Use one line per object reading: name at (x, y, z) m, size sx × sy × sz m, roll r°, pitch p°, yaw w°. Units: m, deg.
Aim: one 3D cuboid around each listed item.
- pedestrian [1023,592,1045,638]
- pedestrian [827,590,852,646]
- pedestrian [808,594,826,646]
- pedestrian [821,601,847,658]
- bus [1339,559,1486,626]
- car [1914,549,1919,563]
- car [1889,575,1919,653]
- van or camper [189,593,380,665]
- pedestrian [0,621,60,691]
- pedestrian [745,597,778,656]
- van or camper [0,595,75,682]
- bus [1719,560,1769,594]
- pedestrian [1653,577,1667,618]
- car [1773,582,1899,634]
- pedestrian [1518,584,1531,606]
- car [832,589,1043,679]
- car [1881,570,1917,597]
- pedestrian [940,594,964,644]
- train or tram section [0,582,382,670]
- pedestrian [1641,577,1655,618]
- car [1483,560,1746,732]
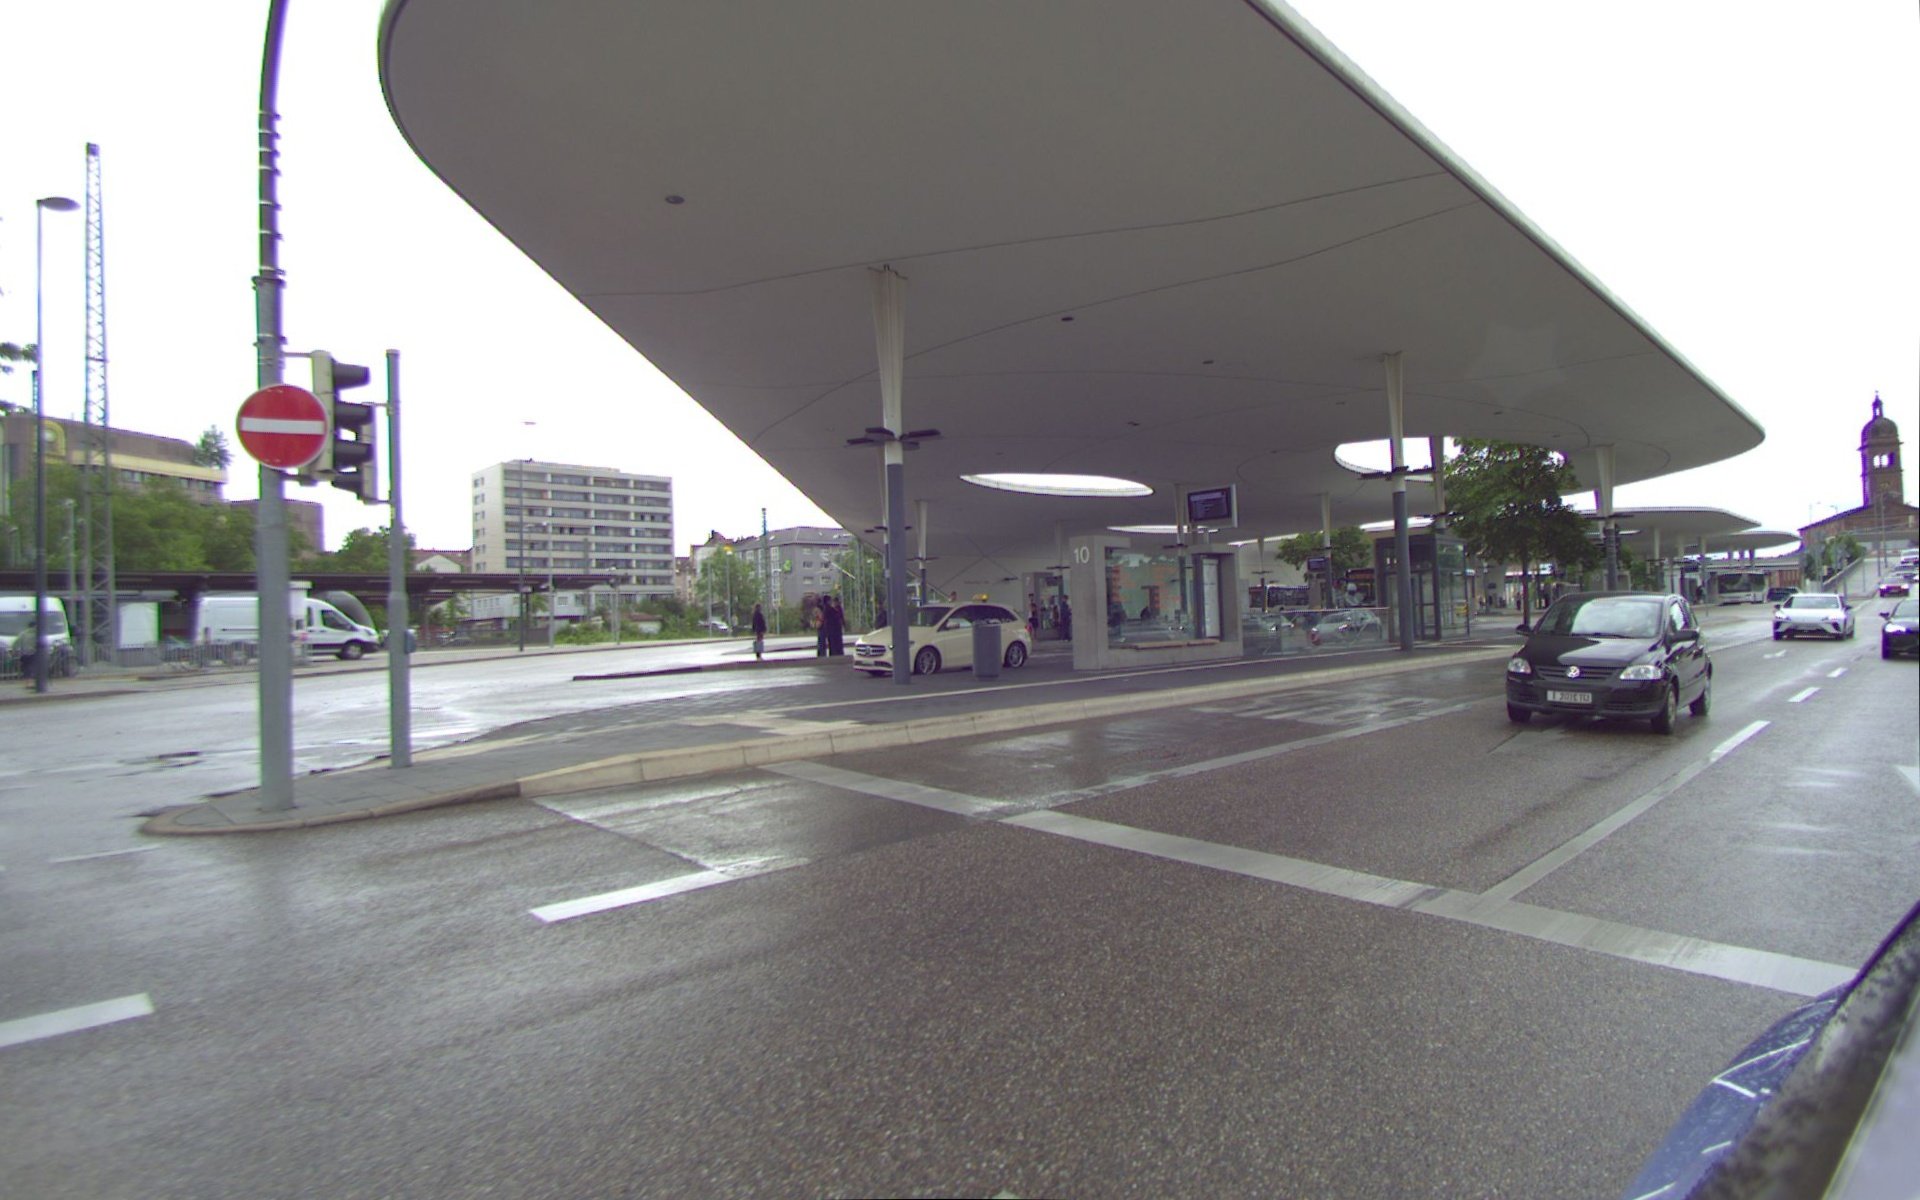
pedestrian at (2.478, 0.496, 34.015) m, size 0.526 × 1.533 × 0.478 m, roll -1°, pitch -1°, yaw -41°
pedestrian at (-3.376, 0.505, 28.310) m, size 0.470 × 1.533 × 0.534 m, roll -1°, pitch -1°, yaw -40°
pedestrian at (-4.255, 0.579, 30.097) m, size 0.469 × 1.533 × 0.536 m, roll -1°, pitch 0°, yaw -10°
pedestrian at (-3.418, 0.788, 27.387) m, size 0.470 × 1.533 × 0.534 m, roll -1°, pitch -1°, yaw -40°
bus at (23.531, -0.459, 52.169) m, size 11.728 × 3.121 × 2.871 m, roll -1°, pitch 1°, yaw -45°
car at (113.048, -5.206, 118.535) m, size 1.642 × 1.580 × 3.598 m, roll 0°, pitch 1°, yaw 40°
car at (23.067, 0.270, 23.461) m, size 4.086 × 1.723 × 1.873 m, roll -1°, pitch 1°, yaw -42°
van or camper at (-25.588, 1.003, 38.507) m, size 5.769 × 2.464 × 1.995 m, roll -2°, pitch 1°, yaw -45°
pedestrian at (-21.362, 1.264, 23.220) m, size 0.628 × 1.549 × 0.836 m, roll 0°, pitch 0°, yaw 16°
pedestrian at (-5.573, 0.720, 28.348) m, size 0.726 × 1.615 × 0.642 m, roll -1°, pitch 0°, yaw -30°
van or camper at (-29.423, 1.100, 31.335) m, size 5.836 × 2.464 × 2.135 m, roll 0°, pitch 1°, yaw 40°
bus at (76.100, -2.174, 98.373) m, size 3.563 × 3.137 × 10.613 m, roll -1°, pitch 0°, yaw 37°
pedestrian at (31.143, -0.112, 45.020) m, size 0.442 × 1.786 × 0.531 m, roll -1°, pitch -1°, yaw 32°
car at (28.630, 0.227, 33.072) m, size 3.968 × 1.578 × 1.815 m, roll -1°, pitch 1°, yaw -28°
pedestrian at (51.758, -0.443, 92.803) m, size 1.015 × 2.039 × 0.872 m, roll 0°, pitch 0°, yaw 26°
car at (-0.398, 0.642, 22.113) m, size 4.468 × 1.702 × 1.995 m, roll -2°, pitch 1°, yaw -45°
car at (73.621, -1.306, 79.325) m, size 1.994 × 2.039 × 3.936 m, roll 0°, pitch 1°, yaw 45°
pedestrian at (-0.245, 0.574, 31.250) m, size 0.526 × 1.533 × 0.478 m, roll -1°, pitch -1°, yaw -41°
train or tram section at (-47.659, 1.305, 54.249) m, size 28.834 × 4.234 × 4.593 m, roll -2°, pitch 1°, yaw -45°
pedestrian at (30.797, -0.115, 45.291) m, size 0.443 × 1.786 × 0.530 m, roll -1°, pitch -1°, yaw 39°
car at (8.050, 0.461, 12.284) m, size 4.089 × 1.723 × 1.872 m, roll 0°, pitch 0°, yaw -45°
